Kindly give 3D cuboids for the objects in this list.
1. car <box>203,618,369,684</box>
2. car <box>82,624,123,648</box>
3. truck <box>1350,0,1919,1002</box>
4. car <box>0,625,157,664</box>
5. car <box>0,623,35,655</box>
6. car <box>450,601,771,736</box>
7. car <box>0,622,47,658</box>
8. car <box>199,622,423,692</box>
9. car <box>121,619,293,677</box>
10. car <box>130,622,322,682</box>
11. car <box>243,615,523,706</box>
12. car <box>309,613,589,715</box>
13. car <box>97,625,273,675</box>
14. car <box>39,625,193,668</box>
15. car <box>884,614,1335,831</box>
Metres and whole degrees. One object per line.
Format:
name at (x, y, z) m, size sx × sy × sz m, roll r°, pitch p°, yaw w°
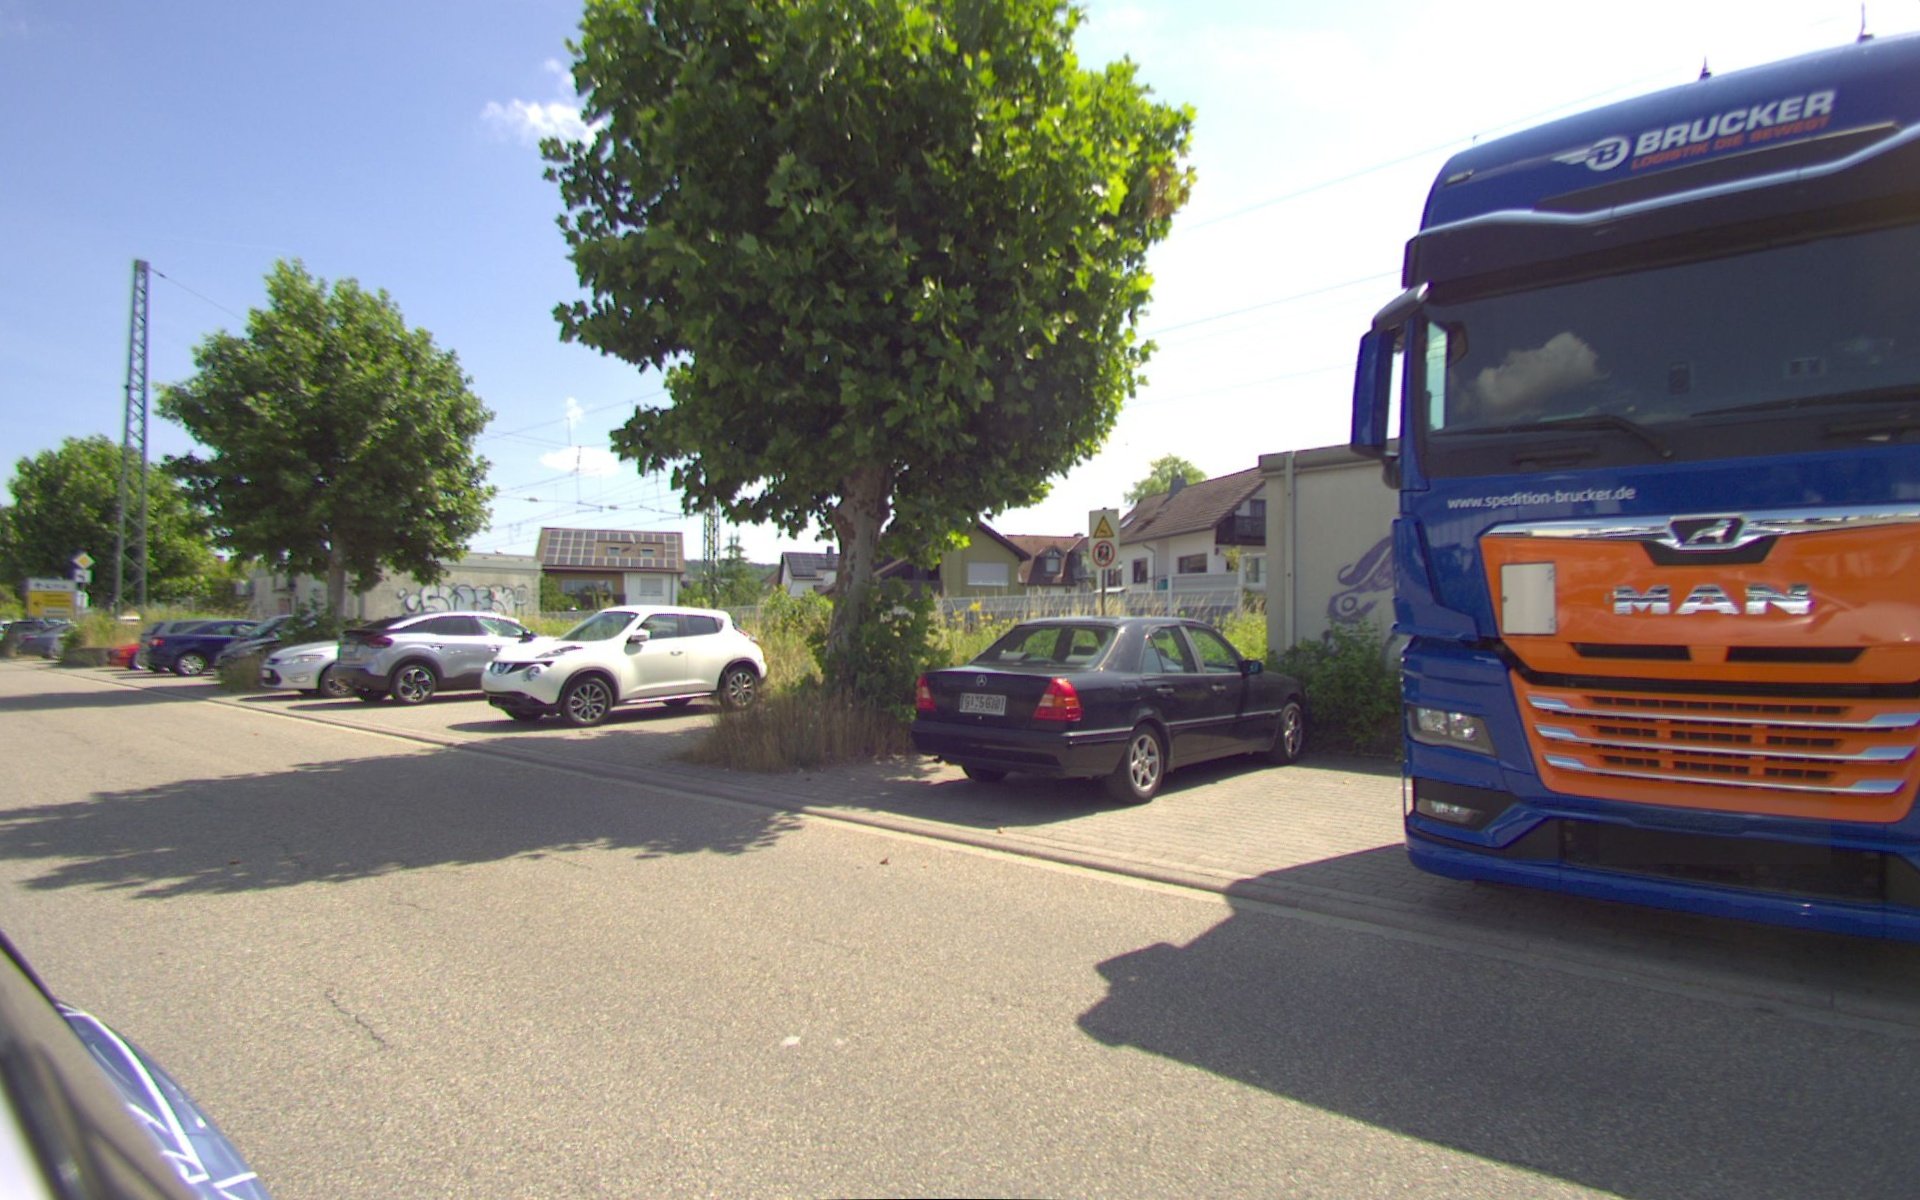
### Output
car at (-16.974, 1.244, 25.580) m, size 1.601 × 1.550 × 3.156 m, roll -1°, pitch -2°, yaw 39°
car at (-58.681, 2.459, 69.243) m, size 1.925 × 1.621 × 4.276 m, roll 2°, pitch -3°, yaw -43°
truck at (4.877, -0.540, 6.273) m, size 2.661 × 3.852 × 6.548 m, roll -1°, pitch -2°, yaw 39°
car at (-34.261, 1.717, 39.392) m, size 1.785 × 1.421 × 4.383 m, roll -1°, pitch -3°, yaw 38°
car at (-49.540, 2.020, 52.688) m, size 4.263 × 1.576 × 1.783 m, roll -2°, pitch -3°, yaw 44°
car at (-4.782, 0.886, 14.311) m, size 1.848 × 1.630 × 3.932 m, roll -2°, pitch -2°, yaw 38°
car at (-42.346, 1.785, 45.682) m, size 1.664 × 1.542 × 4.067 m, roll 2°, pitch -3°, yaw -42°
car at (-15.008, 1.287, 23.563) m, size 1.786 × 1.484 × 4.030 m, roll -2°, pitch -3°, yaw 41°
car at (-21.223, 1.316, 28.620) m, size 1.682 × 1.459 × 3.629 m, roll -2°, pitch -1°, yaw 39°
car at (-19.371, 1.327, 26.804) m, size 3.899 × 1.461 × 1.788 m, roll 2°, pitch -2°, yaw -45°
car at (-10.961, 1.075, 19.468) m, size 1.925 × 1.544 × 4.293 m, roll -2°, pitch -2°, yaw 41°
car at (-8.866, 1.034, 17.809) m, size 1.998 × 1.559 × 3.947 m, roll -1°, pitch -2°, yaw 39°
car at (-23.582, 1.498, 30.904) m, size 1.673 × 1.379 × 4.030 m, roll -3°, pitch -3°, yaw 41°
car at (-30.590, 1.633, 36.761) m, size 1.785 × 1.412 × 4.033 m, roll -2°, pitch -1°, yaw 39°
car at (1.492, 0.838, 8.760) m, size 1.872 × 1.406 × 4.163 m, roll -2°, pitch -2°, yaw 42°
